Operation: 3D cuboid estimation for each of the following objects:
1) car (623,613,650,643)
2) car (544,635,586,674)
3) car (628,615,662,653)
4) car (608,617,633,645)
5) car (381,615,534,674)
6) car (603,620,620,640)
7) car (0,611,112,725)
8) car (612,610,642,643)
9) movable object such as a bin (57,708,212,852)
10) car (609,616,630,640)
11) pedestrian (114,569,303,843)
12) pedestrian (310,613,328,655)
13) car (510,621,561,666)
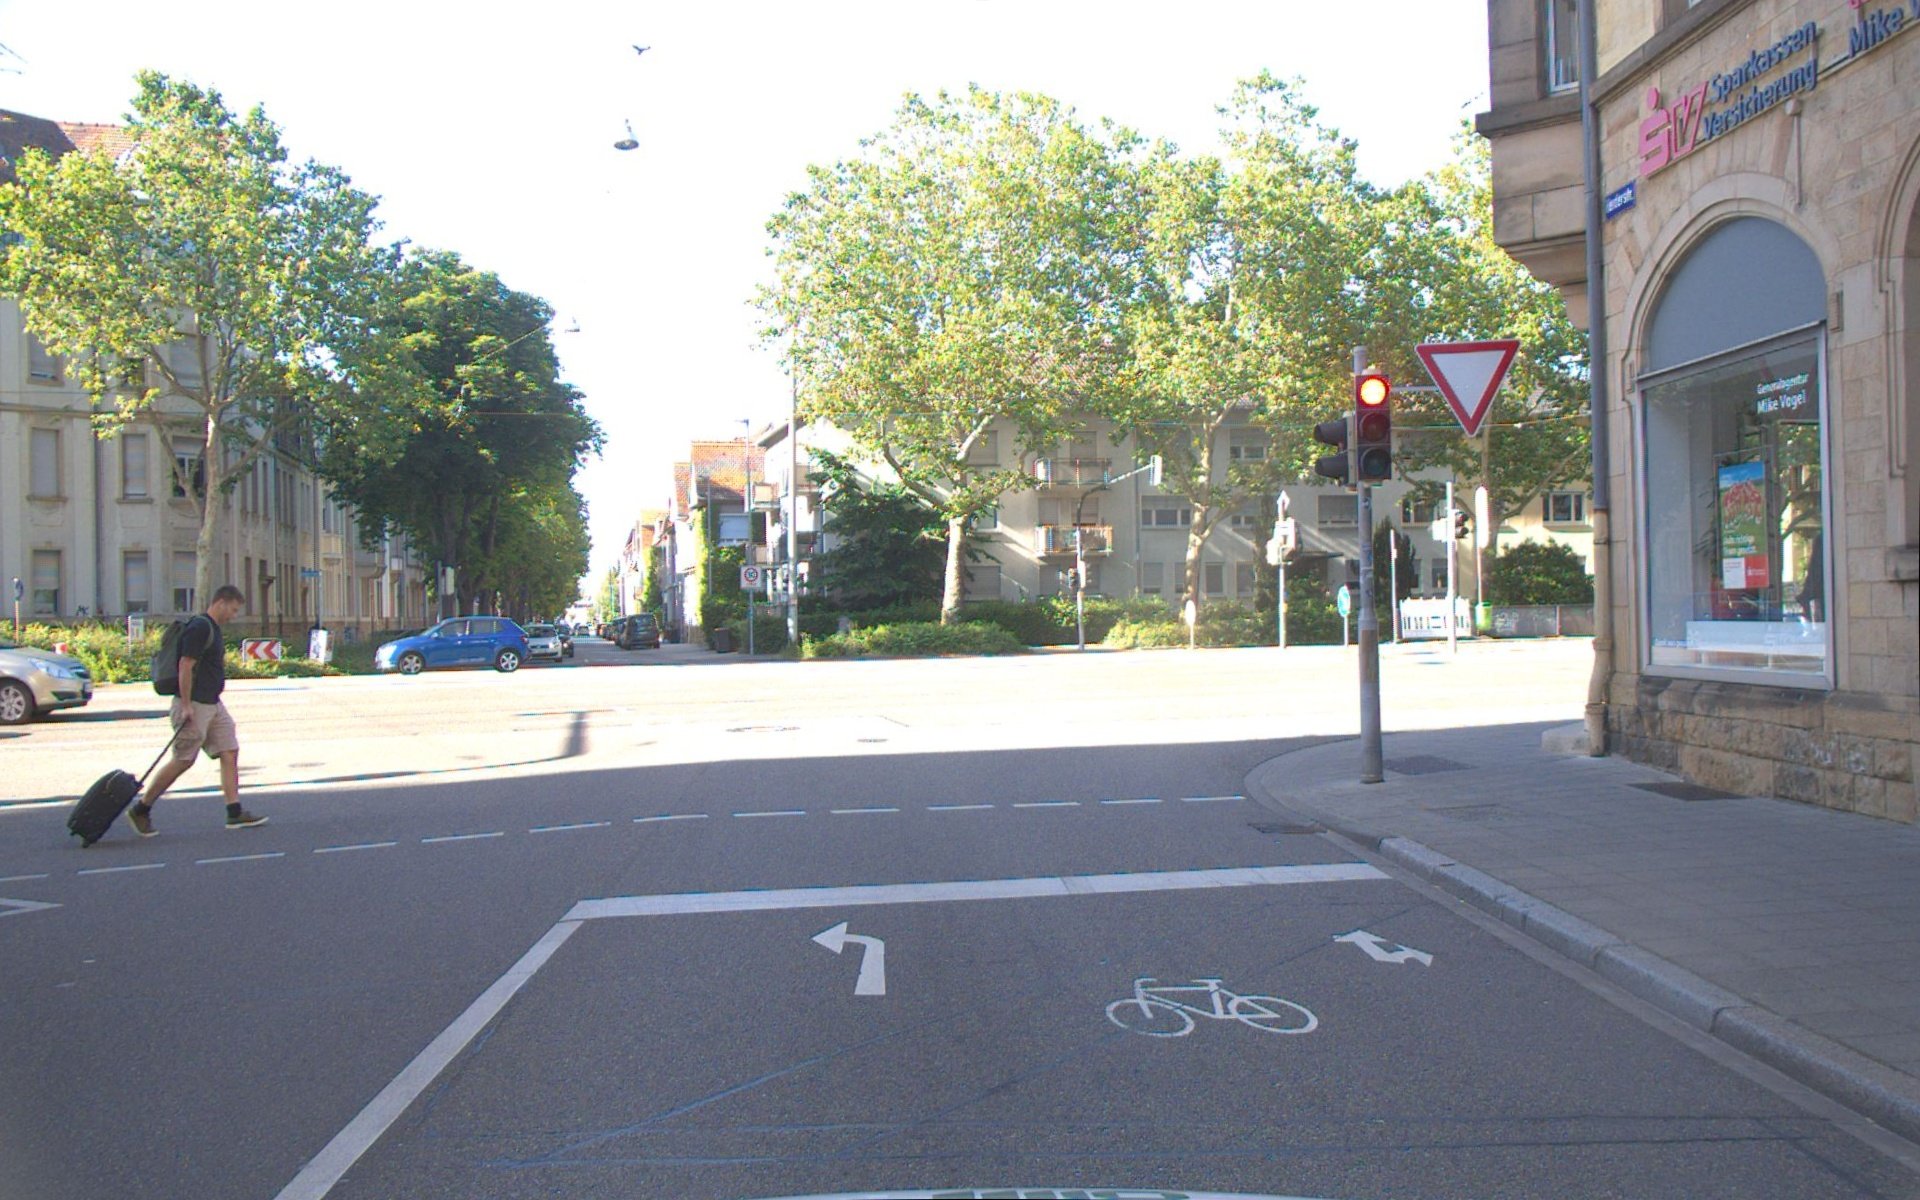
[{"bbox_3d":[-22.491,1.925,114.880,1.742,1.952,3.523,-3,0,-12],"label":"car"},{"bbox_3d":[-17.642,2.409,74.011,1.669,1.509,3.523,-3,1,-12],"label":"car"},{"bbox_3d":[-17.981,1.916,94.216,1.742,1.952,3.523,-3,0,-12],"label":"car"},{"bbox_3d":[-26.235,2.380,127.709,1.742,1.952,3.523,-3,0,-12],"label":"car"},{"bbox_3d":[-13.245,1.154,43.585,3.728,1.425,1.635,-1,0,-22],"label":"car"},{"bbox_3d":[-37.938,3.249,180.184,1.742,1.952,3.523,-3,0,-12],"label":"car"},{"bbox_3d":[-14.159,0.961,22.764,4.134,1.482,1.671,-1,1,-17],"label":"car"},{"bbox_3d":[-21.015,1.651,104.289,1.742,1.952,3.523,-3,0,-12],"label":"car"},{"bbox_3d":[-5.783,1.251,11.618,0.847,0.907,0.508,-2,0,-13],"label":"movable object such as a bin"},{"bbox_3d":[-30.047,2.446,145.935,1.742,1.952,3.523,-3,0,-12],"label":"car"},{"bbox_3d":[-5.466,0.742,12.091,1.047,1.881,0.746,-3,0,-13],"label":"pedestrian"},{"bbox_3d":[-22.357,1.188,57.695,0.482,1.467,0.699,1,-1,-26],"label":"pedestrian"},{"bbox_3d":[-16.170,1.636,63.077,1.669,1.509,3.523,-3,1,-12],"label":"car"}]
